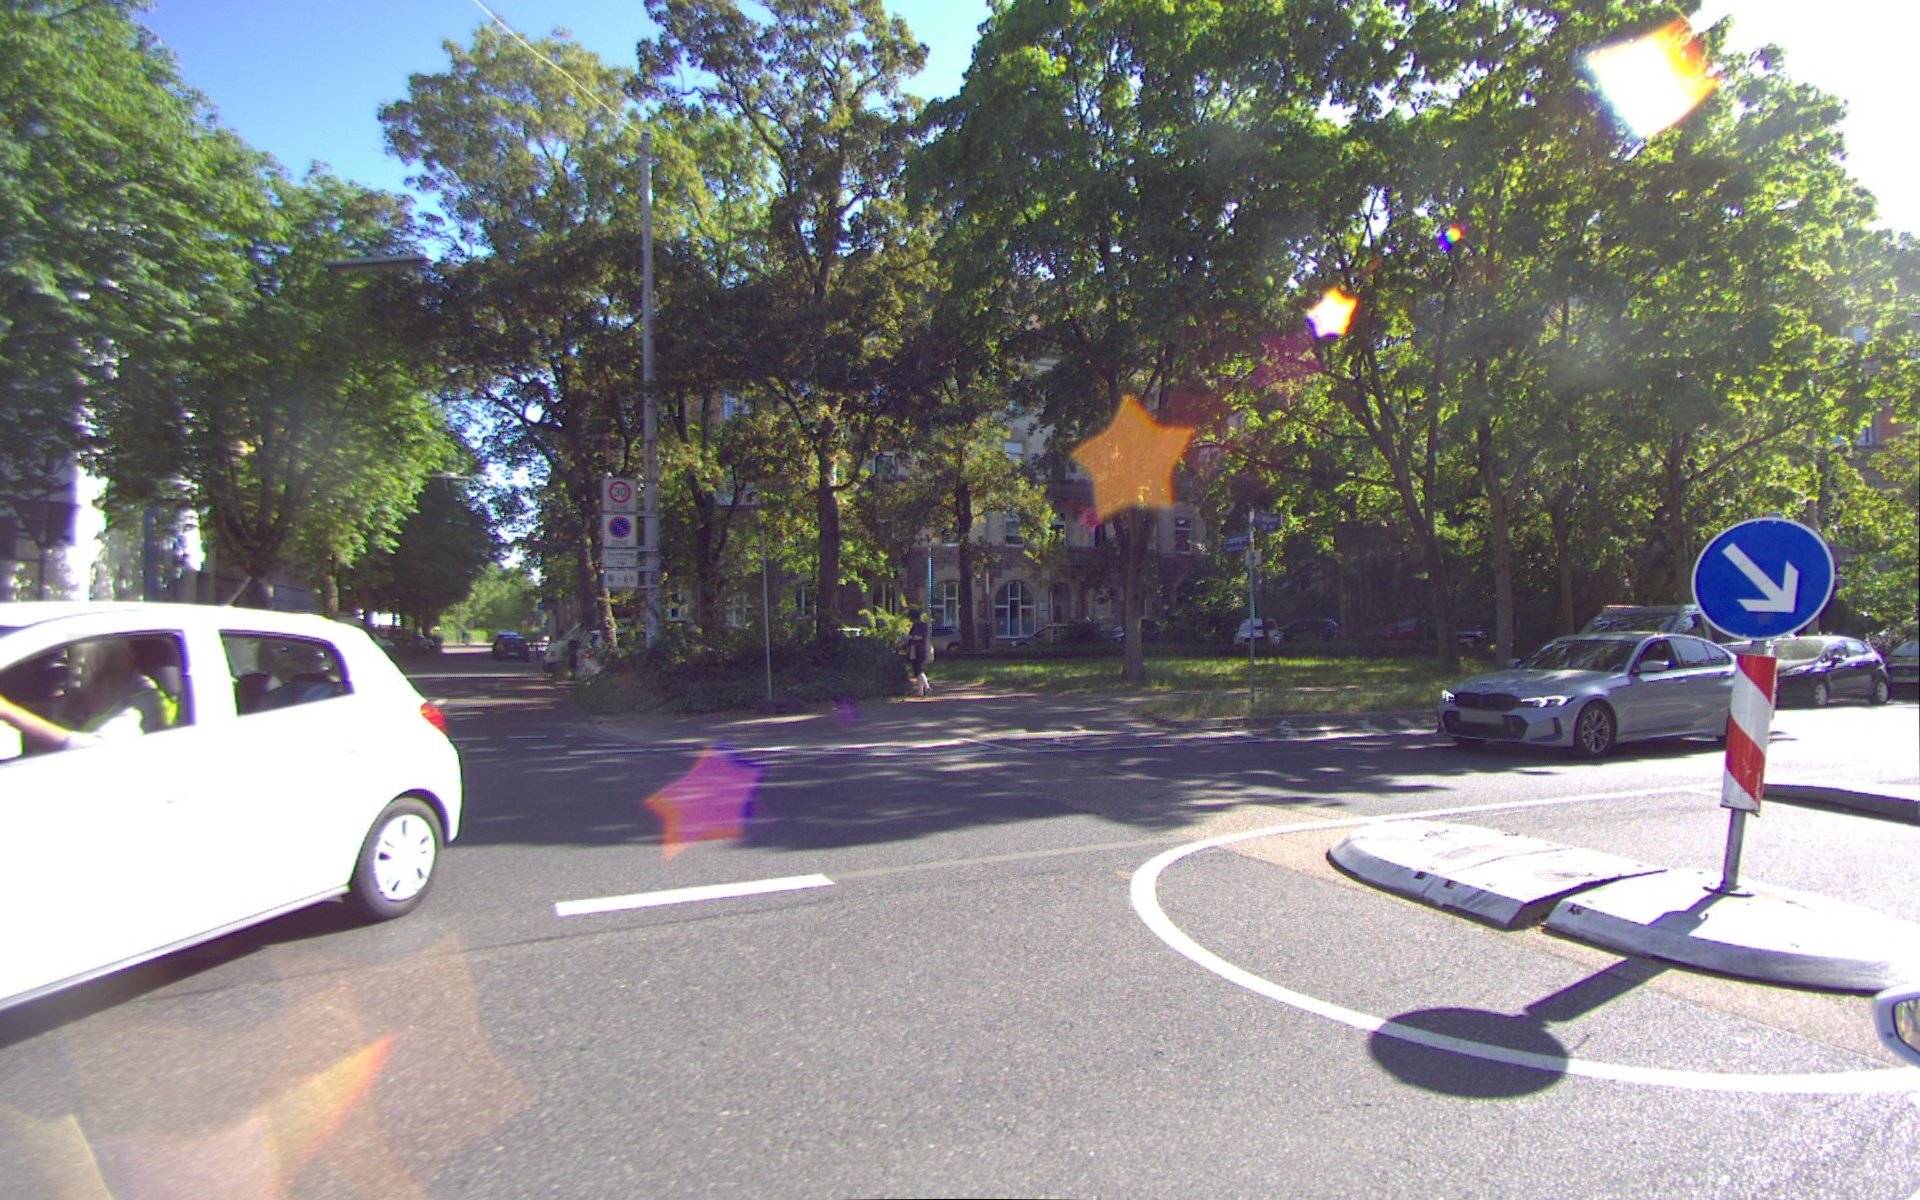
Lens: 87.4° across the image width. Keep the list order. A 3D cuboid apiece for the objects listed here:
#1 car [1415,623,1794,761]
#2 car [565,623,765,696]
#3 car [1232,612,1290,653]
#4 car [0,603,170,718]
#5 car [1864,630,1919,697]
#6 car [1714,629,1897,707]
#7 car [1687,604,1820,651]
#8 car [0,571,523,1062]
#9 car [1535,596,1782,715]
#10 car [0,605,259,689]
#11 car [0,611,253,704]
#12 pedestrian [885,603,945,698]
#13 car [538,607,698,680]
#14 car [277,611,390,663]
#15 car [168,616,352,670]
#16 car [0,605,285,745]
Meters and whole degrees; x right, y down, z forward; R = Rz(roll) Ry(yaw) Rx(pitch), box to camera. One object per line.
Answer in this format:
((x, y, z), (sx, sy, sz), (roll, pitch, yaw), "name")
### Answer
((8.234, 1.055, 12.803), (4.646, 1.514, 1.800), (1, -1, -23), "car")
((-7.273, 1.450, 25.061), (4.622, 1.711, 1.889), (0, -2, -16), "car")
((11.612, 1.293, 38.561), (1.565, 1.447, 4.179), (-3, -4, 24), "car")
((-15.414, 0.926, 15.526), (4.622, 1.711, 1.889), (0, -2, -16), "car")
((23.443, 1.506, 23.871), (4.220, 1.501, 1.584), (2, -3, -29), "car")
((17.902, 1.421, 21.261), (3.905, 1.521, 1.460), (1, -3, -26), "car")
((34.657, 1.224, 43.930), (4.364, 1.938, 1.866), (1, -3, -1), "car")
((-3.580, 0.688, 3.763), (1.620, 1.477, 3.900), (-1, -2, 11), "car")
((13.542, 1.055, 19.412), (4.817, 2.063, 1.975), (1, -4, -30), "car")
((-18.347, 1.011, 21.937), (4.632, 1.711, 1.885), (1, -2, -23), "car")
((-16.986, 1.127, 19.787), (4.635, 1.710, 1.884), (2, -3, -24), "car")
((-0.871, 0.965, 19.454), (0.812, 1.778, 0.864), (1, -1, -36), "pedestrian")
((-11.291, 1.420, 33.200), (4.851, 2.275, 1.883), (1, -2, -25), "car")
((-33.190, 1.960, 53.394), (4.853, 2.657, 1.882), (1, -2, -26), "car")
((-23.227, 1.407, 33.550), (4.627, 1.711, 1.887), (0, -2, -19), "car")
((-10.272, 0.893, 12.923), (1.817, 1.510, 3.763), (1, -2, -21), "car")
